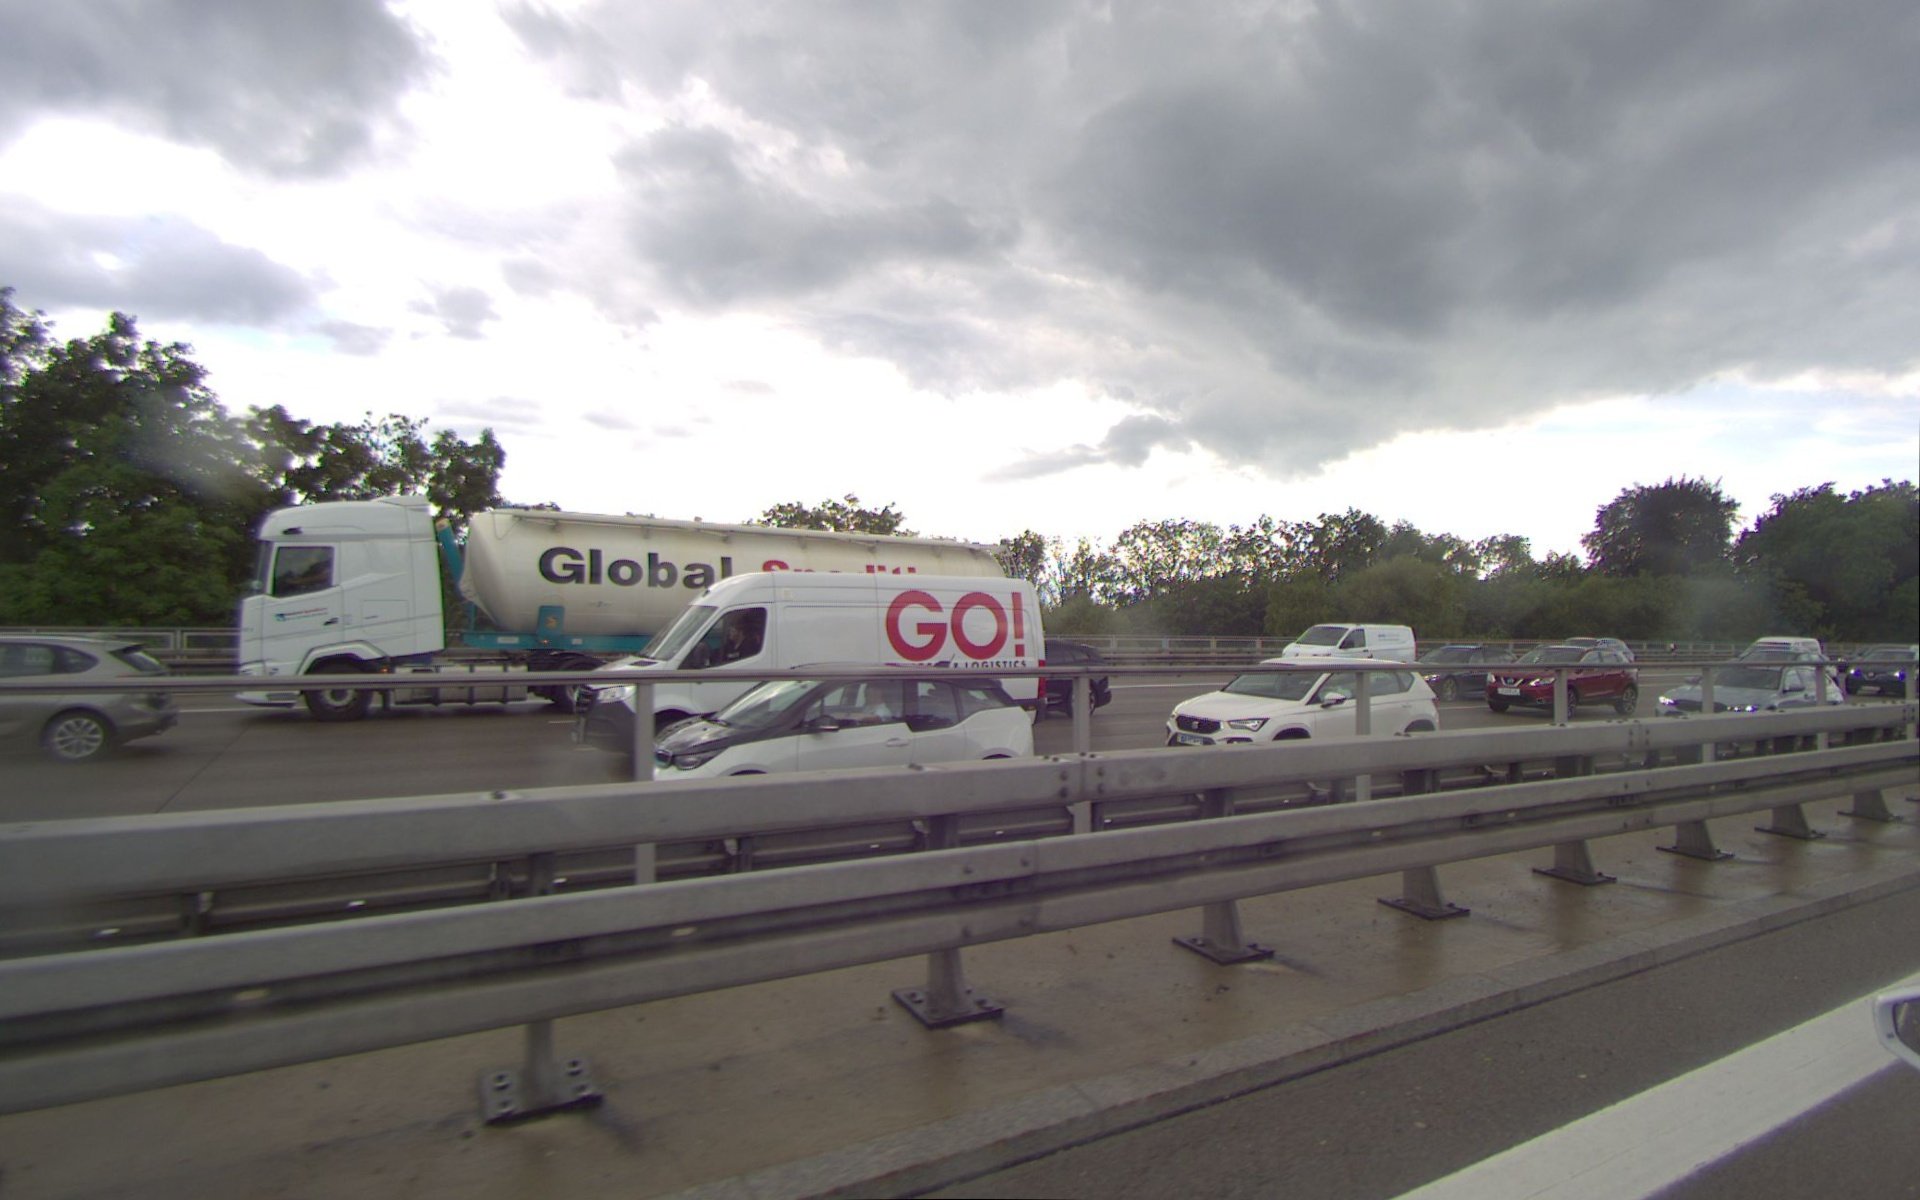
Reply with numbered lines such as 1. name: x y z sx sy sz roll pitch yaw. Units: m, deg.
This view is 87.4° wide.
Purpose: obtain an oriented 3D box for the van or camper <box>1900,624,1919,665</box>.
1. van or camper: 57.100 2.591 58.379 5.865 2.360 2.036 2 -1 -30

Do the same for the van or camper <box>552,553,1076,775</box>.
1. van or camper: -1.873 0.864 14.713 7.371 2.638 2.024 2 -1 -31

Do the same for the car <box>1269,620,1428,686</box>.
1. car: 12.737 1.695 32.822 5.357 1.970 1.993 2 -1 -30

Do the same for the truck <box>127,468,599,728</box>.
1. truck: -10.448 0.061 18.348 6.901 4.017 2.450 2 -1 -30

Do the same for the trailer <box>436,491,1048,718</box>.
1. trailer: -4.102 0.253 22.116 13.065 4.010 2.450 2 -1 -31

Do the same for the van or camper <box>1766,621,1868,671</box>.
1. van or camper: 42.308 2.227 49.540 6.161 2.335 1.930 2 -1 -30

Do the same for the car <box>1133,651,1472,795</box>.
1. car: 4.861 1.565 13.995 4.871 1.649 1.781 2 -1 -31

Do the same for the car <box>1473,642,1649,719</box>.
1. car: 14.510 1.870 24.197 4.369 1.669 1.822 2 -1 -31

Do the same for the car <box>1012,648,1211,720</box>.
1. car: 3.315 1.746 21.670 4.273 1.384 1.491 2 -1 -30

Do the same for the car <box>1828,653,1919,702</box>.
1. car: 31.778 2.624 34.536 3.987 1.495 1.822 2 -1 -31

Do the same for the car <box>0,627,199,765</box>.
1. car: -12.194 1.172 12.634 3.953 1.637 1.612 2 -1 -30

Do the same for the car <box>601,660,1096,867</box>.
1. car: -0.994 1.414 9.926 4.550 1.530 1.781 2 -1 -31

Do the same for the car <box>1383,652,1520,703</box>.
1. car: 13.624 2.100 27.818 3.953 1.284 1.491 2 -1 -30

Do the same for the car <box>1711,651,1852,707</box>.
1. car: 24.409 2.286 29.823 4.523 1.495 1.823 2 -1 -31

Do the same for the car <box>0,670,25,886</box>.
1. car: -8.395 1.218 5.724 4.178 1.508 1.671 2 -1 -31

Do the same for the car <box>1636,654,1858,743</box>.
1. car: 16.075 1.918 20.451 5.013 1.534 1.942 2 -1 -31
